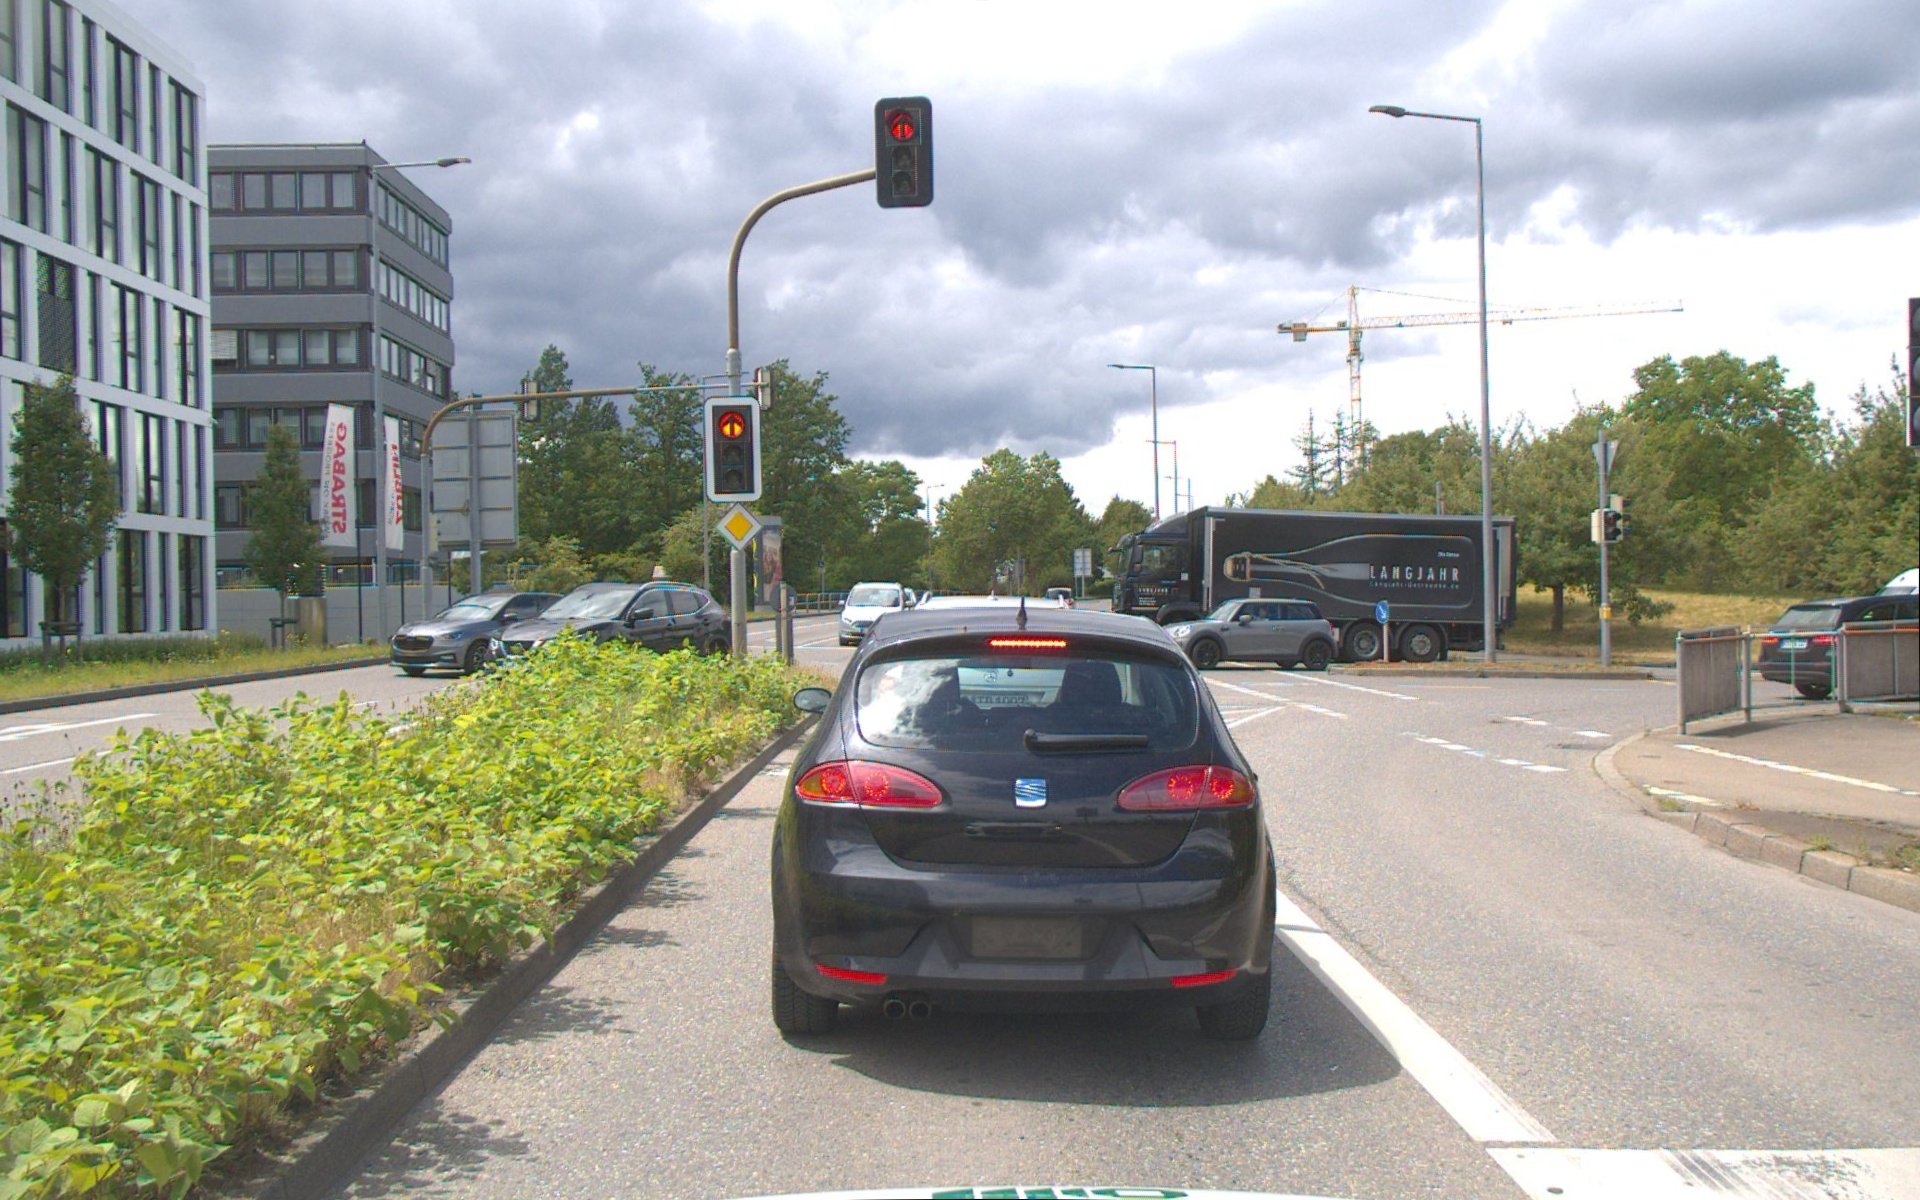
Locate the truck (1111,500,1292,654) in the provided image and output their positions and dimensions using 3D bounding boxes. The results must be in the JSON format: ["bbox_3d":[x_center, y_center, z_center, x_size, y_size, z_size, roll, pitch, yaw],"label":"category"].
[{"bbox_3d":[5.640,-0.533,38.933,3.907,3.530,1.999,0,0,-3],"label":"truck"}]

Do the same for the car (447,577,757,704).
[{"bbox_3d":[-5.019,0.519,23.768,1.957,1.644,4.309,-1,0,30],"label":"car"}]

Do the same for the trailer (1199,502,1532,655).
[{"bbox_3d":[9.527,-0.509,39.204,7.433,3.519,1.999,0,0,-3],"label":"trailer"}]

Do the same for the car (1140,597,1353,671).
[{"bbox_3d":[5.922,0.673,34.323,3.920,1.445,1.992,0,0,-15],"label":"car"}]

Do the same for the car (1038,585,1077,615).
[{"bbox_3d":[5.092,-0.013,87.147,1.952,1.557,4.001,0,0,2],"label":"car"}]

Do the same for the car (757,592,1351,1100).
[{"bbox_3d":[0.252,0.718,6.650,1.737,1.477,3.581,0,0,-1],"label":"car"}]

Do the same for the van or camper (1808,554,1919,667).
[{"bbox_3d":[23.312,0.222,38.673,5.792,2.577,2.251,0,0,4],"label":"van or camper"}]

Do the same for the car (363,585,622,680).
[{"bbox_3d":[-8.252,0.536,29.575,1.957,1.552,4.309,-1,0,30],"label":"car"}]

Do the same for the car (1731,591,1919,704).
[{"bbox_3d":[14.114,0.622,24.039,5.086,1.466,1.875,-1,0,-9],"label":"car"}]

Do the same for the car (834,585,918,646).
[{"bbox_3d":[-2.271,0.396,45.848,1.952,1.624,4.001,0,0,2],"label":"car"}]

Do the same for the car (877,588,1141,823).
[{"bbox_3d":[0.240,0.690,12.843,1.738,1.517,3.580,-1,0,-3],"label":"car"}]

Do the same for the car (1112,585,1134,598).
[{"bbox_3d":[17.960,-0.909,182.034,1.951,1.375,4.004,0,0,13],"label":"car"}]
